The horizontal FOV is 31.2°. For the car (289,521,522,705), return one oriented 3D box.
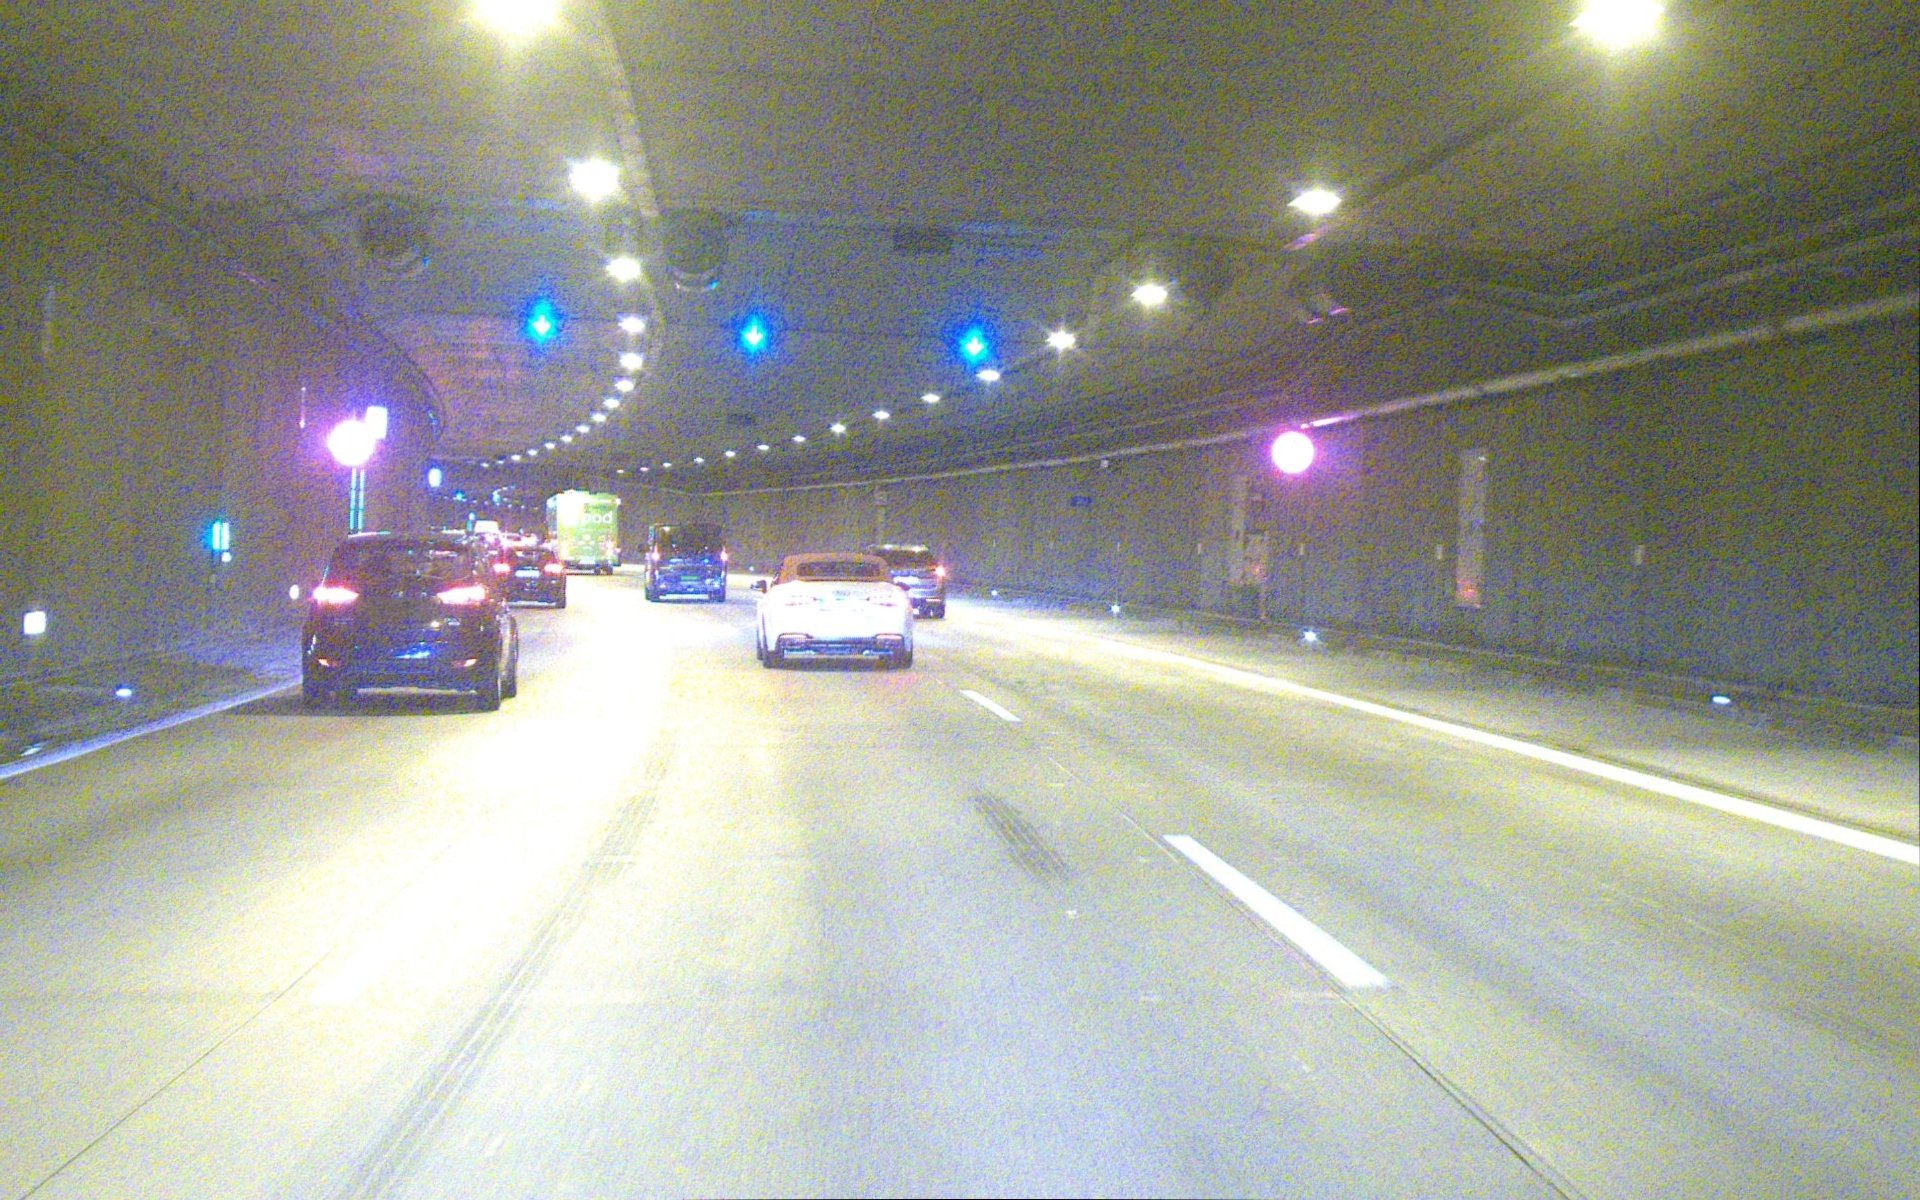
[{"bbox_3d":[-5.109,0.084,32.087,1.785,1.593,3.802,1,1,-4],"label":"car"}]

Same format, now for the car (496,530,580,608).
[{"bbox_3d":[-9.511,-0.708,77.621,1.800,1.678,4.001,1,1,-6],"label":"car"}]

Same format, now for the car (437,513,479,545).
[{"bbox_3d":[-25.476,-3.610,174.430,1.993,1.525,4.001,2,0,-10],"label":"car"}]

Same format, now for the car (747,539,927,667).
[{"bbox_3d":[-1.577,0.002,42.623,1.993,1.478,4.001,1,1,-5],"label":"car"}]

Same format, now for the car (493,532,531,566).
[{"bbox_3d":[-24.587,-2.792,188.726,1.993,1.748,4.001,2,0,-6],"label":"car"}]

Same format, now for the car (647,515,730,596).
[{"bbox_3d":[-6.745,-1.103,85.476,1.993,1.965,4.001,1,1,-4],"label":"car"}]

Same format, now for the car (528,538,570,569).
[{"bbox_3d":[-23.783,-2.690,198.764,1.993,1.748,4.001,2,0,-12],"label":"car"}]

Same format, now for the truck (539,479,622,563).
[{"bbox_3d":[-15.190,-3.192,137.194,3.082,3.102,10.032,2,2,-7],"label":"truck"}]

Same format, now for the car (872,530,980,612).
[{"bbox_3d":[-0.714,-0.599,69.735,1.839,1.597,4.001,1,1,-5],"label":"car"}]
